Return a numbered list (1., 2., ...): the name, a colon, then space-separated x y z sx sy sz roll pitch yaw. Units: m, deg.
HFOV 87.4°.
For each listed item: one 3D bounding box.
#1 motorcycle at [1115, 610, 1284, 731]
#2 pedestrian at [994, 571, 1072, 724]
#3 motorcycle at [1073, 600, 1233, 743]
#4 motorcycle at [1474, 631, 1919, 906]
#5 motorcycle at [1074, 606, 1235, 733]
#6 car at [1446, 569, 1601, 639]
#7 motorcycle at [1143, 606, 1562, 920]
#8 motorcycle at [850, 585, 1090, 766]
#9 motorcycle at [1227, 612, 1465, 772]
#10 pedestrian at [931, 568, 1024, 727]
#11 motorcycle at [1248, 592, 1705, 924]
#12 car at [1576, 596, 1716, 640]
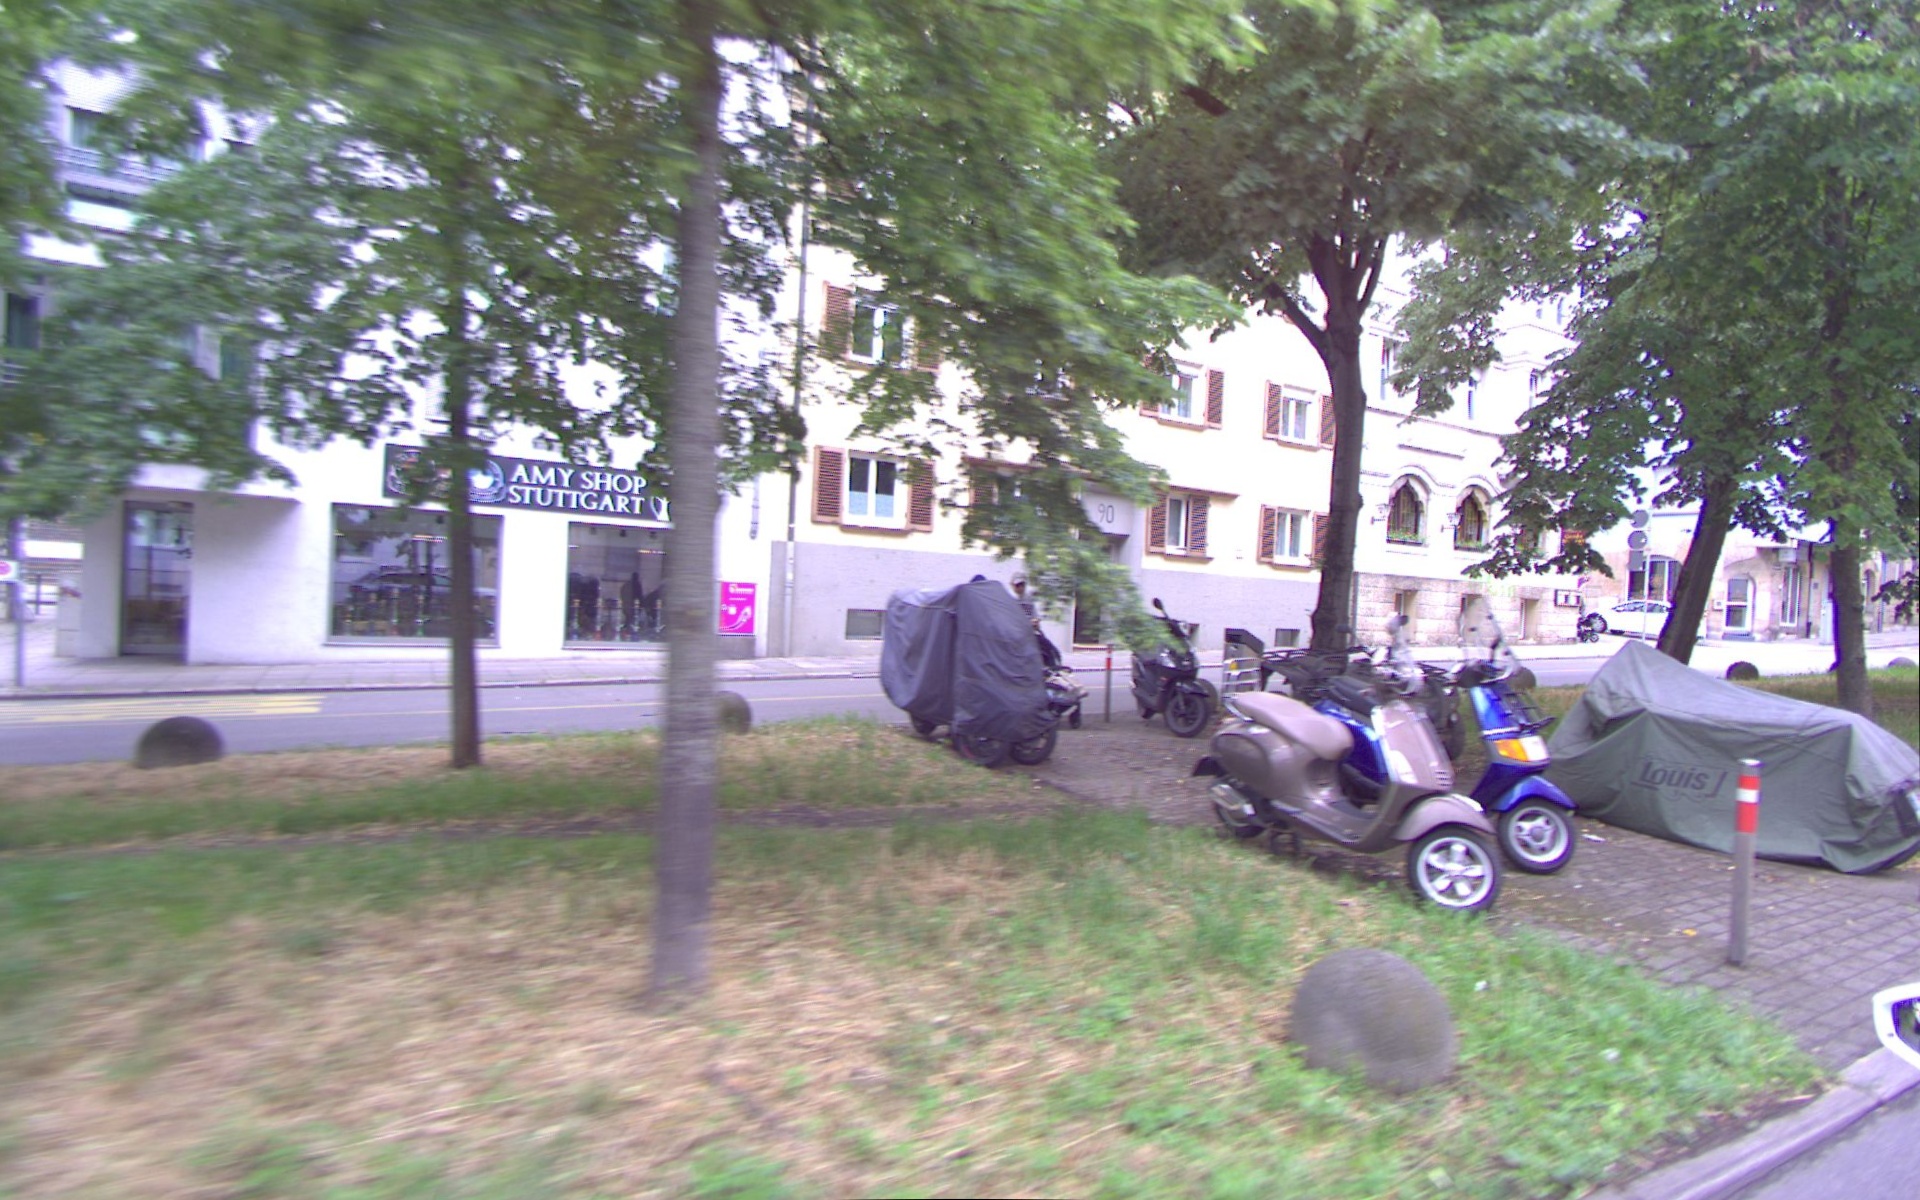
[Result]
1. motorcycle: 2.735 0.771 11.747 0.615 1.252 2.120 2 -1 -29
2. pedestrian: 0.807 0.510 11.212 0.572 1.638 0.660 1 2 -28
3. motorcycle: 1.978 0.693 10.553 0.617 1.356 1.753 1 0 -31
4. motorcycle: 4.655 0.887 6.307 1.022 1.252 2.343 1 1 -31
5. motorcycle: 2.157 0.729 11.451 0.510 1.252 2.098 0 1 -31
6. car: 21.383 0.086 38.365 1.973 2.081 4.785 0 7 -24
7. motorcycle: 1.983 0.729 5.392 0.883 1.314 1.914 3 0 -31
8. motorcycle: -0.002 0.560 8.883 1.033 1.335 2.370 0 1 -30
9. motorcycle: 3.514 0.774 9.375 0.884 1.252 2.023 1 1 -24
10. pedestrian: 0.186 0.489 10.827 0.755 1.635 0.631 0 2 -29
11. motorcycle: 2.771 0.723 5.738 0.863 1.458 2.185 1 1 -27
12. car: 26.343 0.675 38.698 1.976 1.517 3.968 1 1 -29
